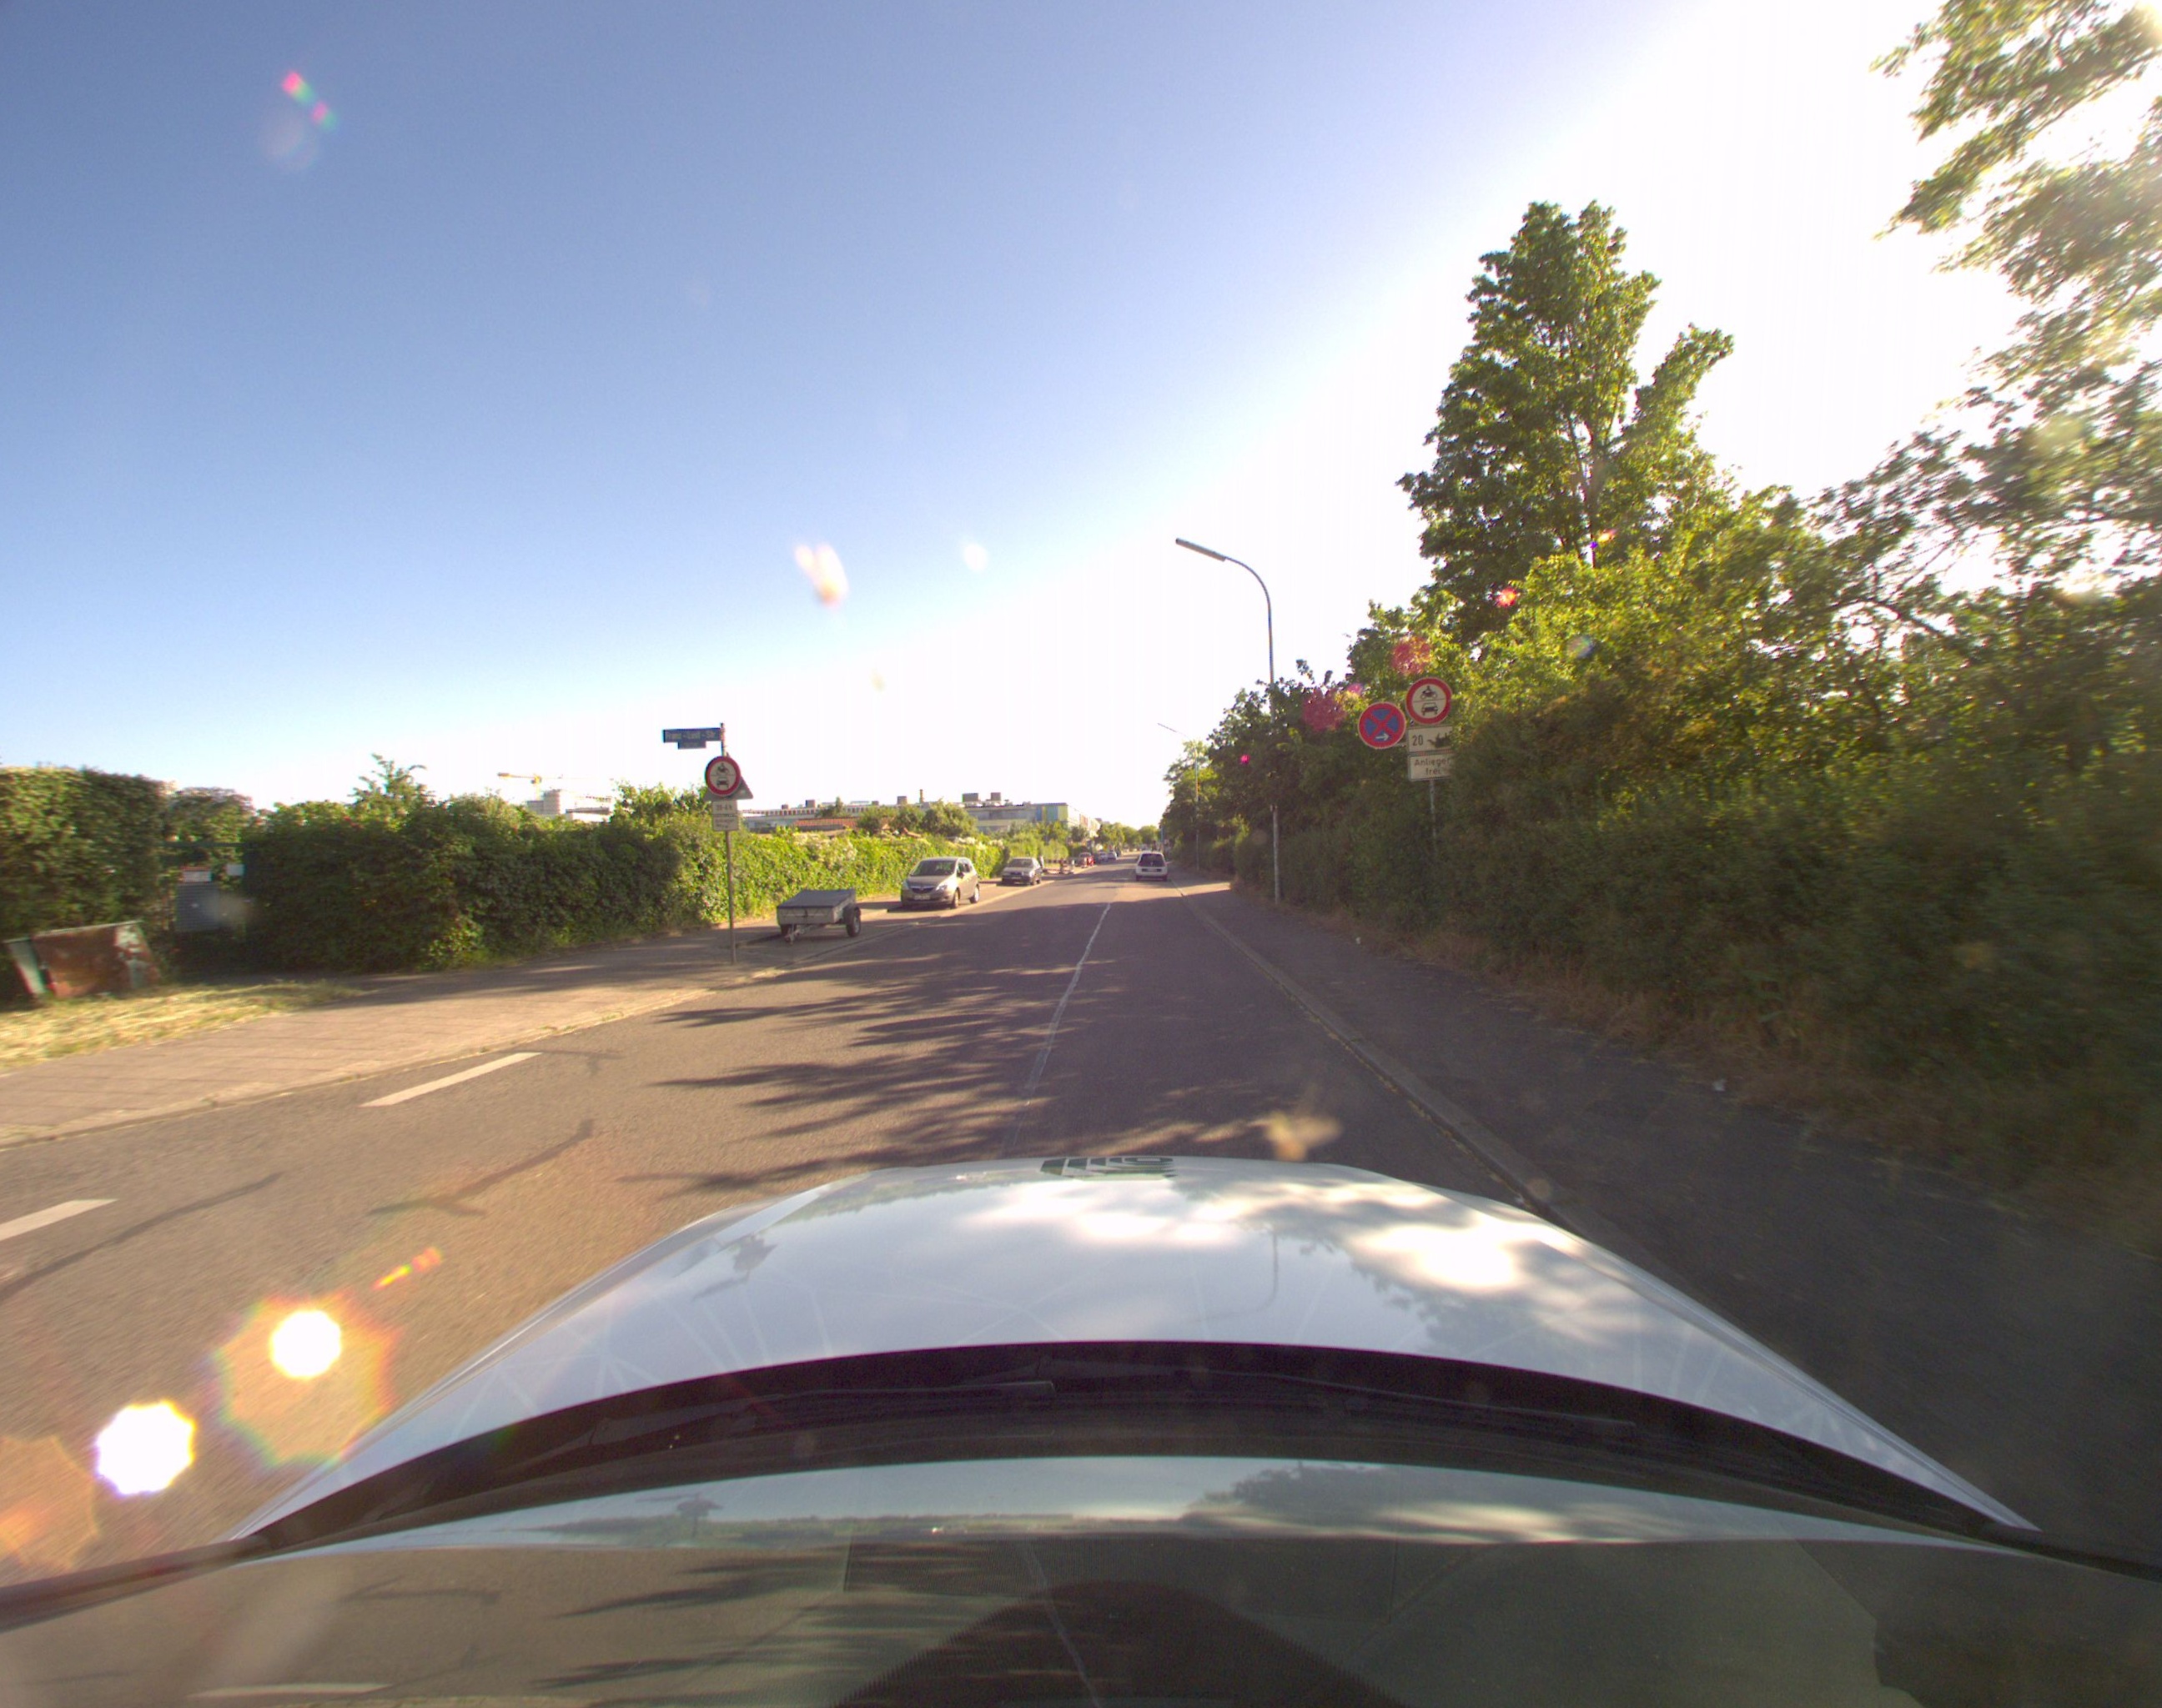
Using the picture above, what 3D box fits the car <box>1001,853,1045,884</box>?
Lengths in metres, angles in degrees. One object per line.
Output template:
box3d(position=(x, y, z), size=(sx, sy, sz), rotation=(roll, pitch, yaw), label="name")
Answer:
box3d(position=(-3.067, 0.730, 43.885), size=(1.636, 1.556, 4.423), rotation=(-2, 0, 4), label="car")

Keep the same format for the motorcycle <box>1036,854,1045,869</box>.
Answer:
box3d(position=(-3.467, 0.630, 69.867), size=(0.565, 1.268, 2.091), rotation=(0, -1, 1), label="motorcycle")

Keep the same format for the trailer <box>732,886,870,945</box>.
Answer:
box3d(position=(-5.409, 1.166, 16.031), size=(1.536, 0.953, 2.652), rotation=(0, 0, 7), label="trailer")

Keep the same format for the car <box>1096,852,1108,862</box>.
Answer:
box3d(position=(3.299, 0.427, 125.854), size=(1.552, 1.495, 3.763), rotation=(-2, 0, 4), label="car")

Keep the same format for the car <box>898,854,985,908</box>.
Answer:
box3d(position=(-4.398, 0.808, 26.376), size=(1.635, 1.600, 4.319), rotation=(0, 0, 6), label="car")

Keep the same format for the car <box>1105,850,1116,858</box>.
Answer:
box3d(position=(5.589, -0.040, 155.085), size=(1.846, 1.428, 4.139), rotation=(0, 0, 4), label="car")

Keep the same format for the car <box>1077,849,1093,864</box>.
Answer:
box3d(position=(0.469, 0.273, 90.542), size=(1.552, 1.495, 3.574), rotation=(-2, 0, 4), label="car")

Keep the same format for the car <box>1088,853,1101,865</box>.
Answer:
box3d(position=(1.816, 0.627, 108.848), size=(1.552, 1.495, 3.574), rotation=(1, 0, 4), label="car")

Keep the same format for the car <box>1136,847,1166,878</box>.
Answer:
box3d(position=(3.746, 0.426, 43.641), size=(1.548, 1.538, 3.560), rotation=(1, 0, 4), label="car")

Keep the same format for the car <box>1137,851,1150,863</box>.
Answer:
box3d(position=(8.233, 0.403, 106.840), size=(1.615, 1.526, 3.907), rotation=(1, 0, 5), label="car")
